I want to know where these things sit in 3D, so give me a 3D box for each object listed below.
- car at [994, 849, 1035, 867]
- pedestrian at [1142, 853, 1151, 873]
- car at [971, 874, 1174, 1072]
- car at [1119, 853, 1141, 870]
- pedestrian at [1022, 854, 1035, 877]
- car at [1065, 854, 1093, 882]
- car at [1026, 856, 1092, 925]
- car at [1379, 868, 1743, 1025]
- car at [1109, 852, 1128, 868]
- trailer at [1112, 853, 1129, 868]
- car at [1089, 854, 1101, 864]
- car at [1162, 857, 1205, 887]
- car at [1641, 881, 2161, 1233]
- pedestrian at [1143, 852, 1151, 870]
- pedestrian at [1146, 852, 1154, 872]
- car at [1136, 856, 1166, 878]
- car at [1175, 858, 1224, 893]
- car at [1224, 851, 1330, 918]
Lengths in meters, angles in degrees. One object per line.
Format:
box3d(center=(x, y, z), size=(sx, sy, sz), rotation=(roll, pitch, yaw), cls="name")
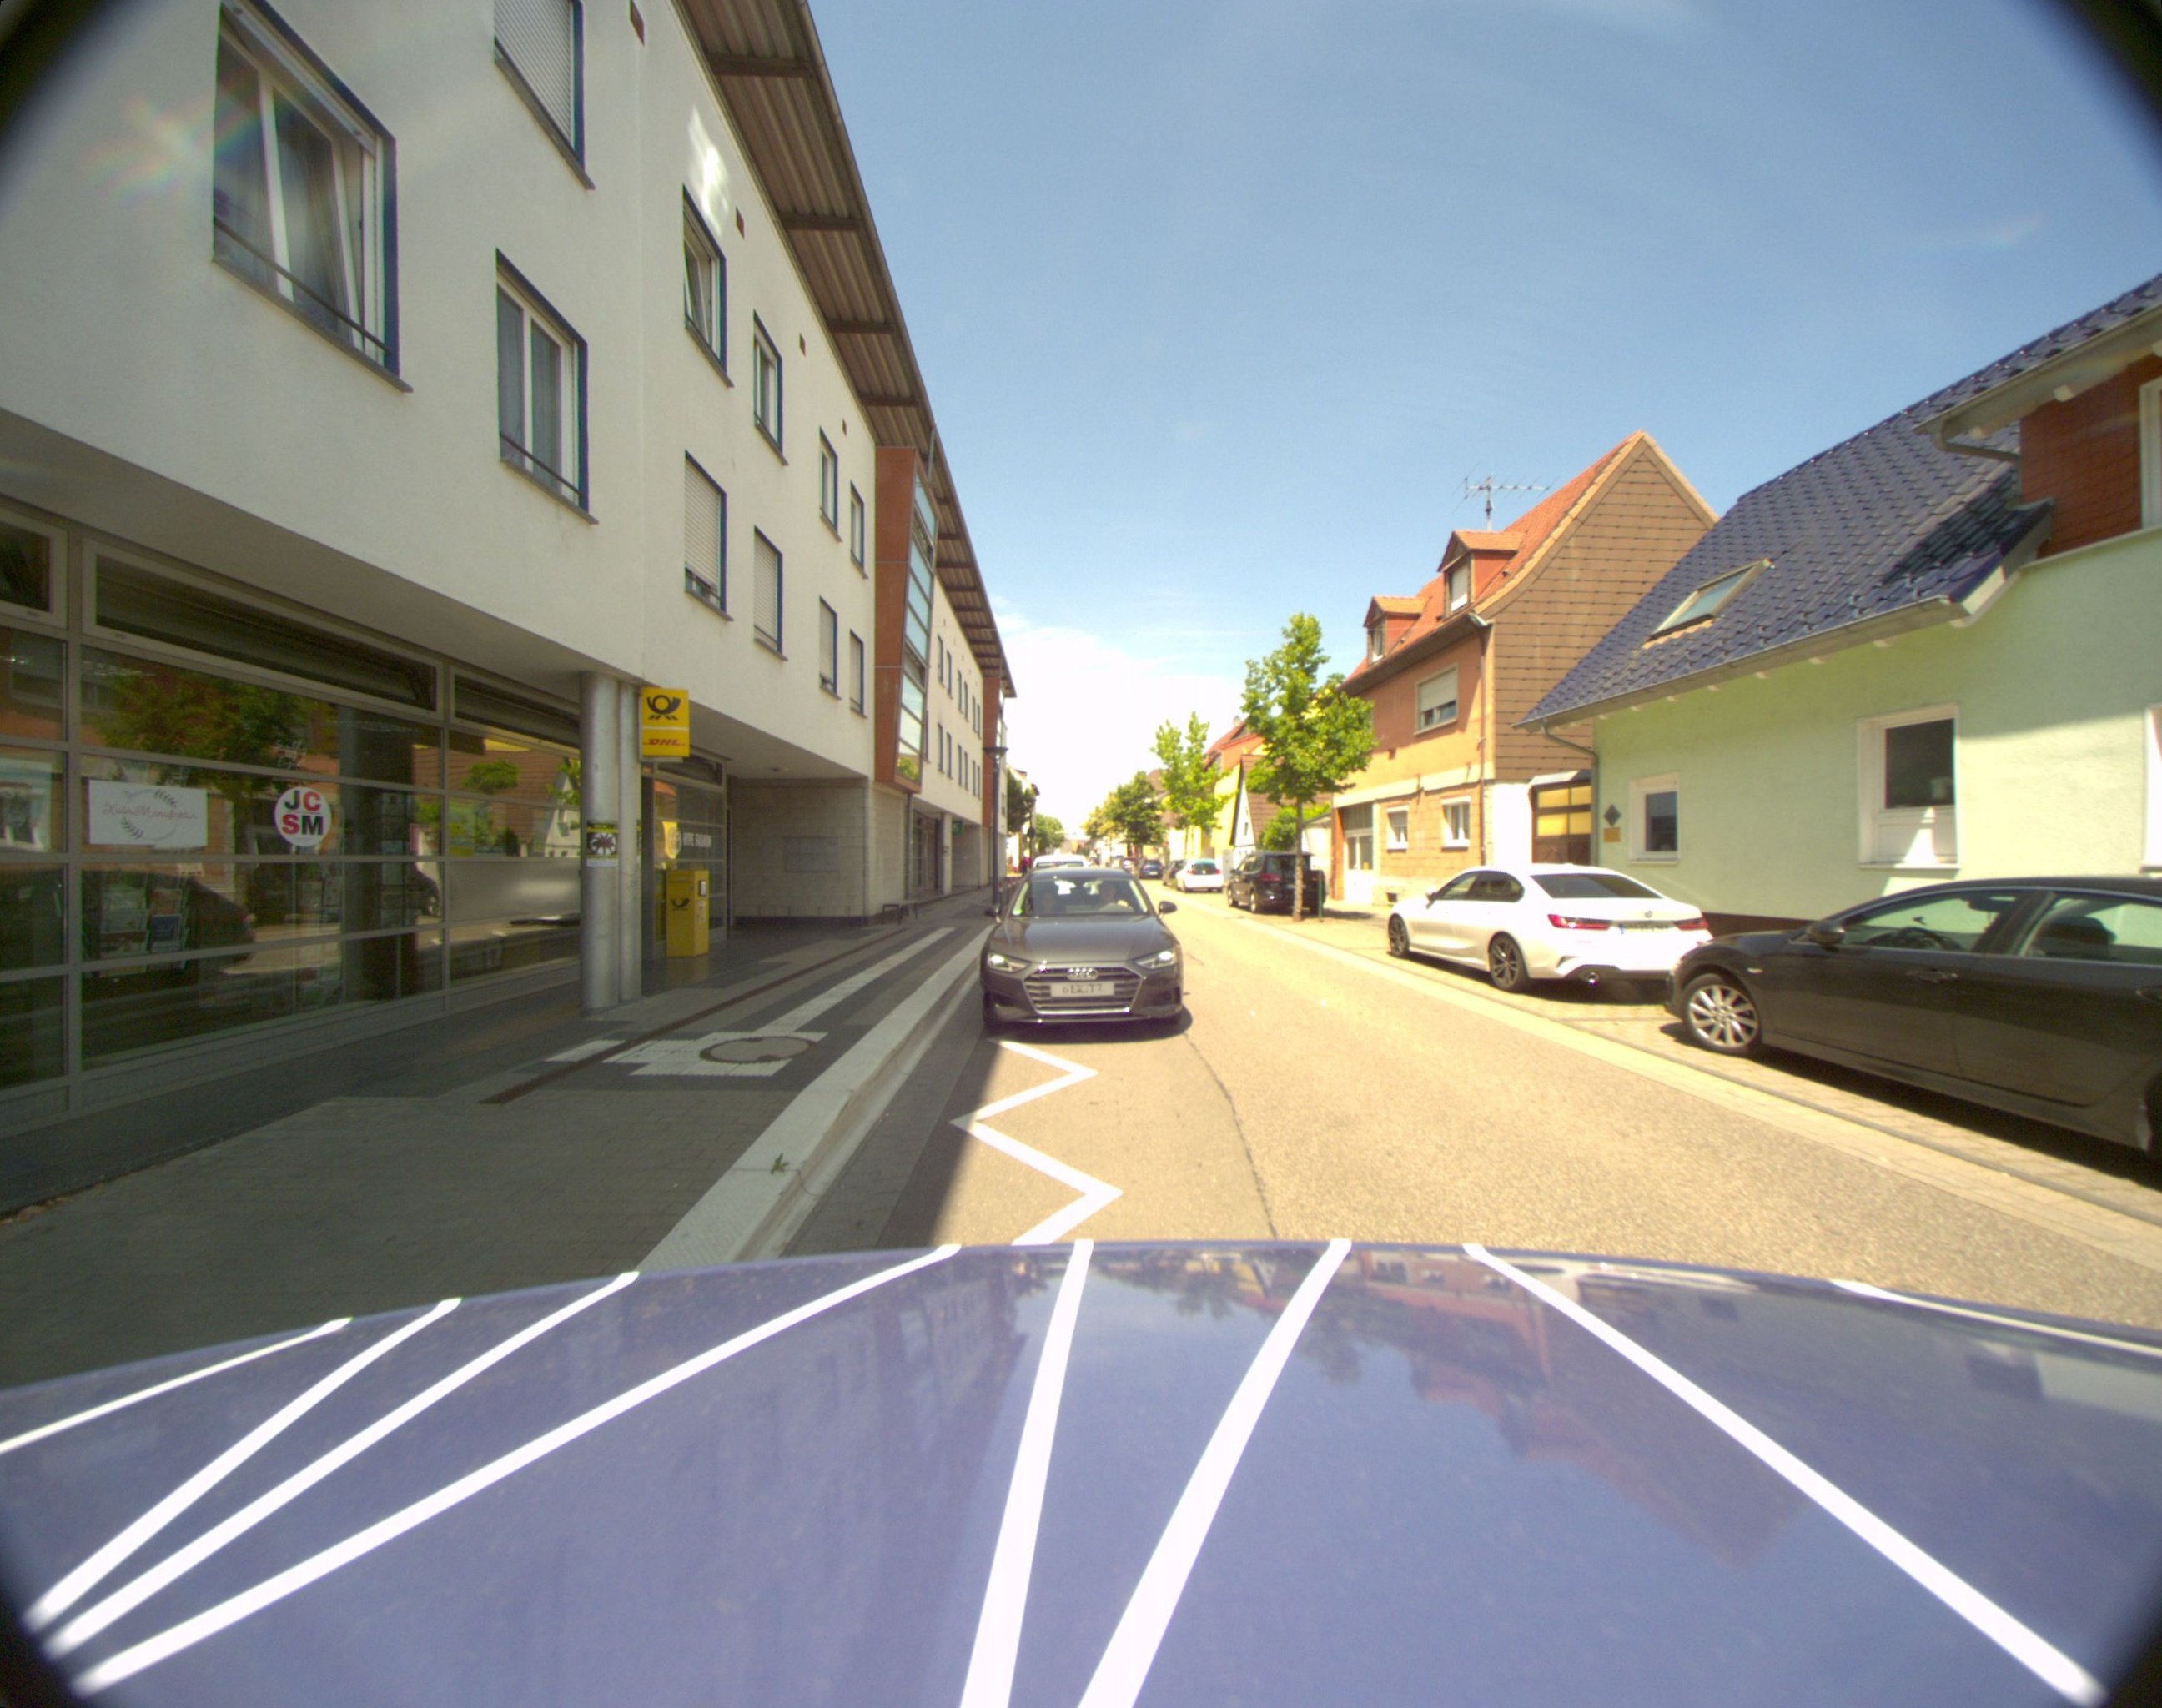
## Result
box3d(center=(-7.077, 0.400, 81.002), size=(4.204, 1.849, 2.000), rotation=(1, 0, -1), cls="car")
box3d(center=(5.220, 0.690, 60.453), size=(0.631, 1.592, 0.528), rotation=(0, 1, -1), cls="pedestrian")
box3d(center=(-0.104, 0.987, 7.975), size=(1.581, 1.424, 4.064), rotation=(0, 0, -1), cls="car")
box3d(center=(4.570, 0.706, 71.958), size=(1.753, 1.566, 4.157), rotation=(0, 0, -1), cls="car")
box3d(center=(-3.814, 0.825, 55.491), size=(0.826, 1.579, 0.919), rotation=(3, 0, -1), cls="pedestrian")
box3d(center=(-0.154, 0.828, 46.121), size=(1.581, 1.620, 4.064), rotation=(0, 0, -1), cls="car")
box3d(center=(-0.565, 0.878, 20.198), size=(1.581, 1.620, 4.064), rotation=(0, 0, -1), cls="car")
box3d(center=(5.558, 0.945, 9.633), size=(1.724, 1.428, 4.459), rotation=(0, 0, -1), cls="car")
box3d(center=(4.370, 0.639, 88.800), size=(1.695, 1.742, 3.999), rotation=(-2, 0, -3), cls="car")
box3d(center=(4.366, 0.686, 84.628), size=(1.493, 1.571, 3.882), rotation=(-3, 0, -3), cls="trailer")
box3d(center=(2.162, 0.767, 116.717), size=(1.693, 1.464, 3.999), rotation=(0, 0, -1), cls="car")
box3d(center=(5.287, 0.900, 39.693), size=(1.649, 1.422, 4.098), rotation=(1, 0, -1), cls="car")
box3d(center=(5.599, 0.948, 4.226), size=(1.665, 1.428, 4.538), rotation=(0, 0, 1), cls="car")
box3d(center=(5.977, 0.641, 68.507), size=(0.663, 1.592, 0.771), rotation=(0, 1, 0), cls="pedestrian")
box3d(center=(5.579, 0.633, 61.686), size=(0.631, 1.592, 0.528), rotation=(0, 1, -1), cls="pedestrian")
box3d(center=(4.781, 0.869, 52.452), size=(1.660, 1.399, 4.157), rotation=(0, 0, -1), cls="car")
box3d(center=(5.167, 0.917, 33.464), size=(1.558, 1.422, 3.409), rotation=(1, 0, -1), cls="car")
box3d(center=(5.451, 0.787, 21.751), size=(1.780, 1.716, 4.519), rotation=(0, 0, -1), cls="car")
